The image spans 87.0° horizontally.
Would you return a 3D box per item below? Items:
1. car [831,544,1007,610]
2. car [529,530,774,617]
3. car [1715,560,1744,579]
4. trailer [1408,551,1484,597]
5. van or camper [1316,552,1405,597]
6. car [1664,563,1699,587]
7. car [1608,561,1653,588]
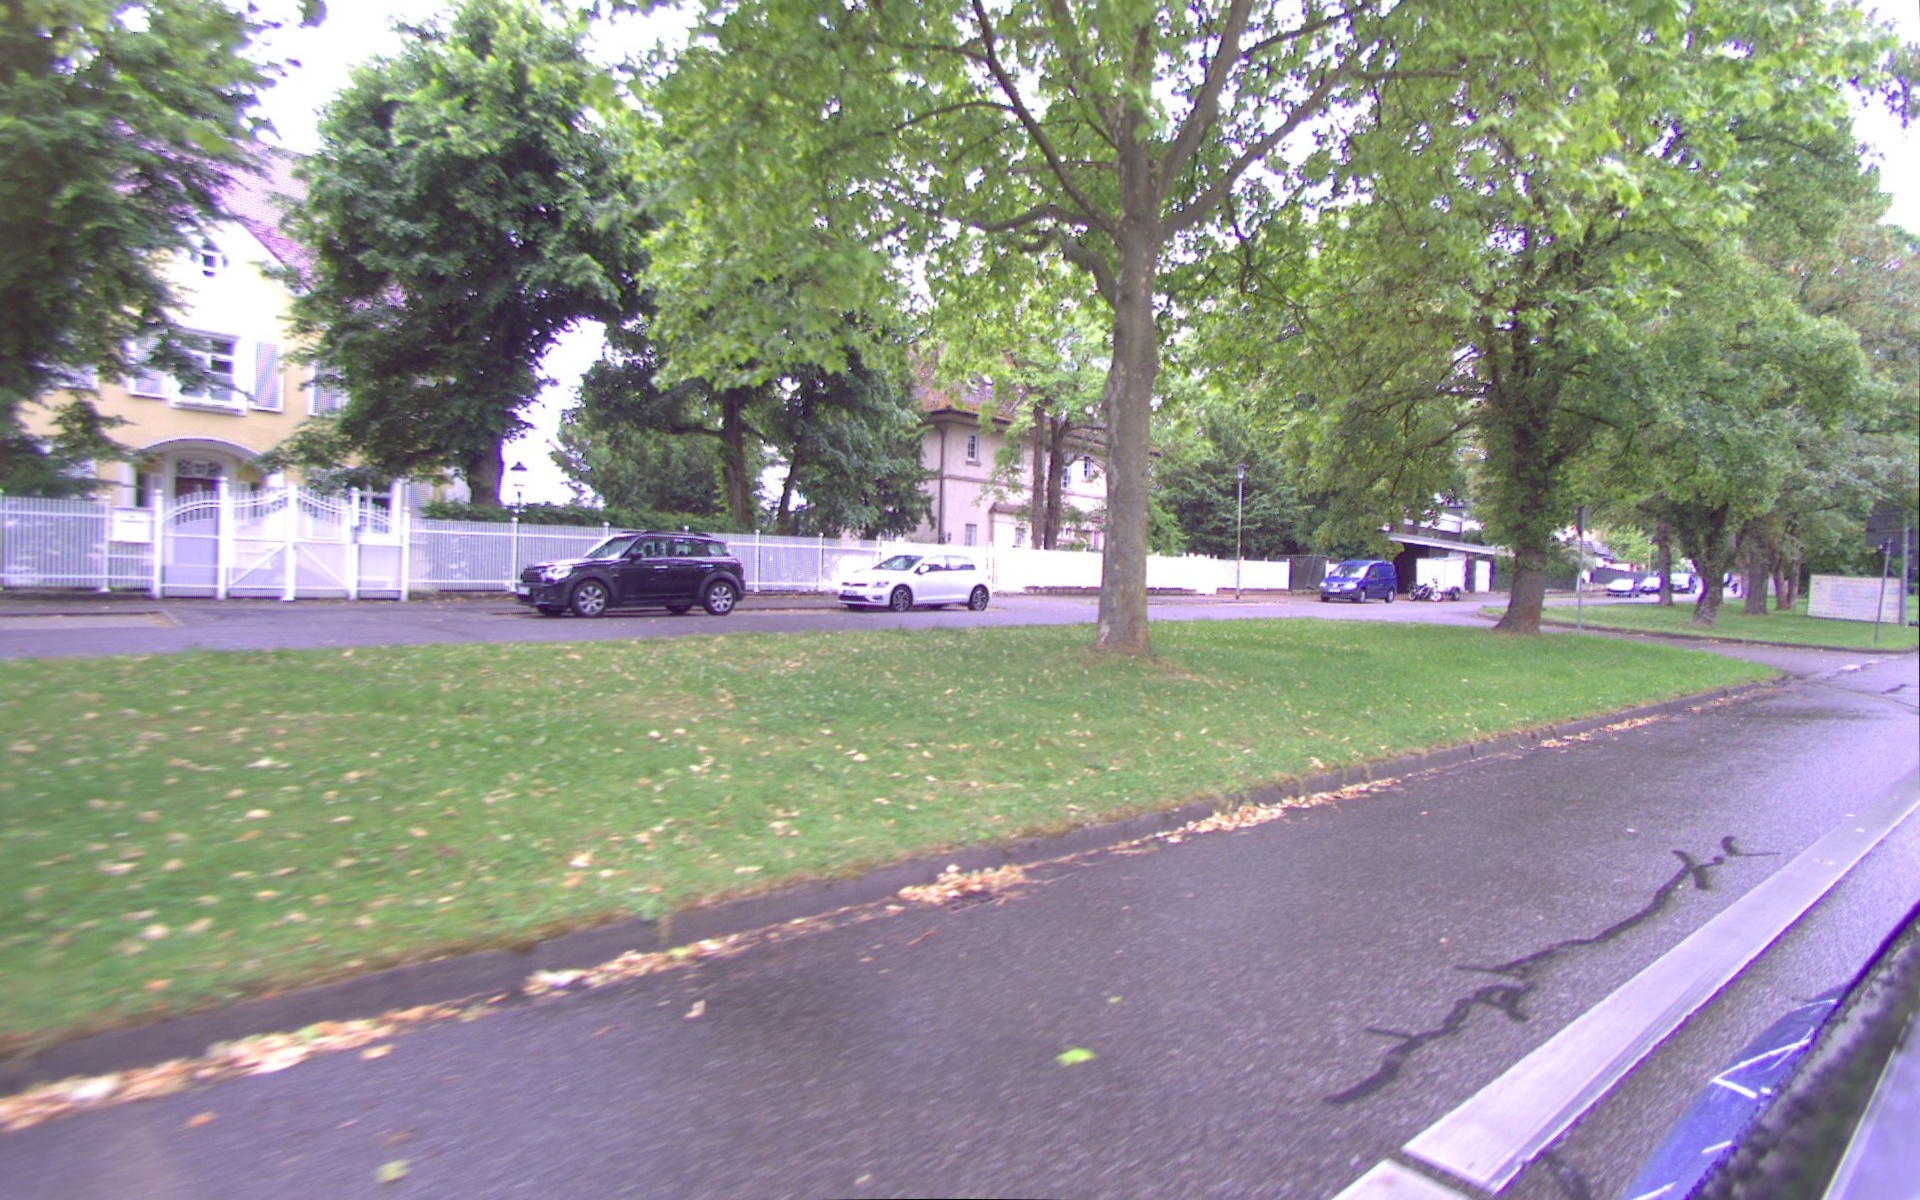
[{"bbox_3d":[-0.925,-0.546,24.716,1.994,1.467,4.059,0,1,44],"label":"car"},{"bbox_3d":[-5.809,-0.494,19.372,1.994,1.489,4.059,0,1,44],"label":"car"},{"bbox_3d":[85.944,-3.424,113.042,3.934,2.038,1.996,-1,3,-44],"label":"car"},{"bbox_3d":[23.887,-1.263,49.632,5.109,2.143,1.767,-1,1,-45],"label":"trailer"},{"bbox_3d":[17.070,-1.066,43.009,1.993,1.831,4.702,0,1,43],"label":"van or camper"},{"bbox_3d":[68.720,-2.354,96.325,3.933,2.038,1.996,2,1,-44],"label":"car"},{"bbox_3d":[52.569,-1.983,79.370,3.932,2.038,1.997,-1,3,-43],"label":"car"}]
